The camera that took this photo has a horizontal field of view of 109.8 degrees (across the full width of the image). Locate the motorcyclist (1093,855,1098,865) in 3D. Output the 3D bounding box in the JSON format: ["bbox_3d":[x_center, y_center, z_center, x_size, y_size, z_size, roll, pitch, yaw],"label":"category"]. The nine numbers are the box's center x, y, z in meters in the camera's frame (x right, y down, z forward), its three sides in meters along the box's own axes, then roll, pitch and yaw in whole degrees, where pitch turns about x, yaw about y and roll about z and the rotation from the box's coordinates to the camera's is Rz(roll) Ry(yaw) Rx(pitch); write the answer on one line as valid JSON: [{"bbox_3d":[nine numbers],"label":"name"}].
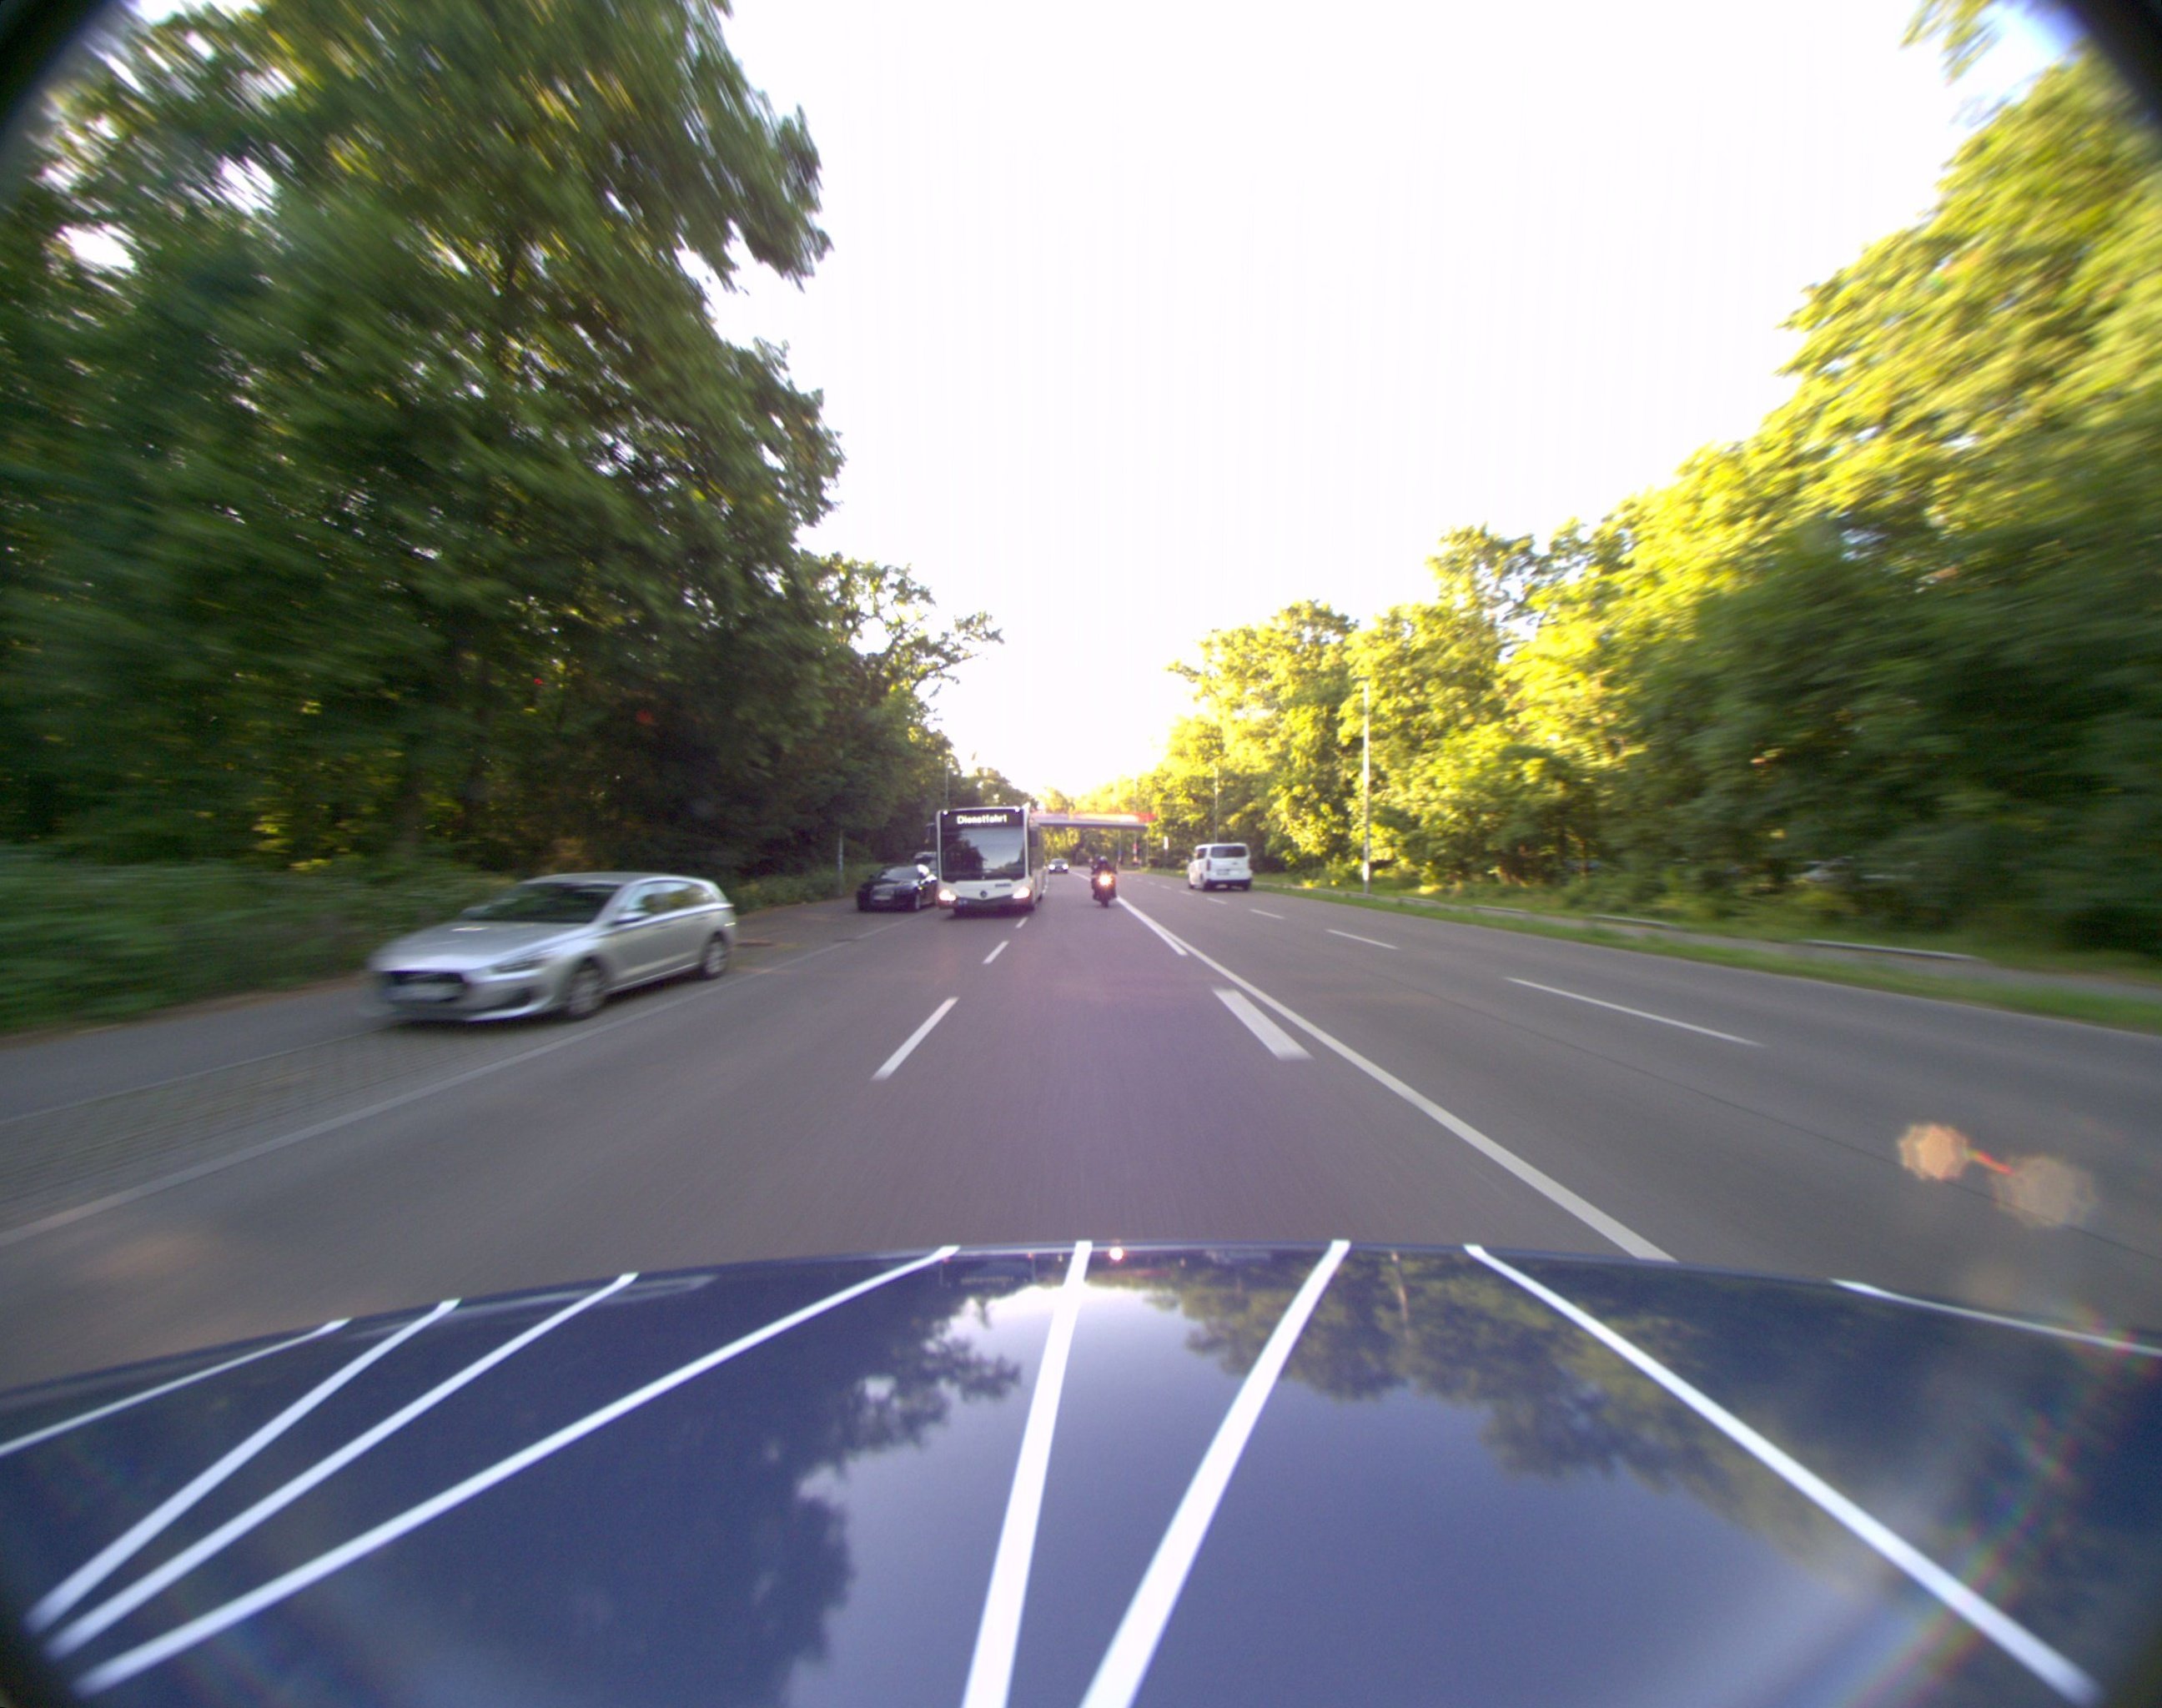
[{"bbox_3d":[2.251,0.979,119.563,0.726,1.496,0.671,-1,1,-3],"label":"motorcyclist"}]

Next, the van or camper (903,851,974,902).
[{"bbox_3d":[-5.780,0.869,31.434,1.897,1.937,5.134,0,0,1],"label":"van or camper"}]

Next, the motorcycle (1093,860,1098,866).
[{"bbox_3d":[2.263,1.423,119.610,0.638,0.989,2.076,-2,0,-3],"label":"motorcycle"}]

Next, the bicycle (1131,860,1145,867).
[{"bbox_3d":[7.785,1.344,103.412,1.931,0.929,0.825,-1,0,5],"label":"bicycle"}]

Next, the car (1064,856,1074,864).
[{"bbox_3d":[-2.092,1.068,131.057,1.686,1.398,3.888,-1,0,-3],"label":"car"}]

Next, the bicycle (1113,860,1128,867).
[{"bbox_3d":[5.422,1.268,103.838,1.931,0.929,0.825,-1,0,5],"label":"bicycle"}]

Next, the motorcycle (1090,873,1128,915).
[{"bbox_3d":[0.839,1.198,23.585,0.956,1.098,3.339,-3,0,-1],"label":"motorcycle"}]

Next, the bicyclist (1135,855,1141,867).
[{"bbox_3d":[7.717,0.927,103.426,0.797,1.687,0.946,-1,0,5],"label":"bicyclist"}]

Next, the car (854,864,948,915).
[{"bbox_3d":[-5.790,1.091,25.059,1.843,1.433,4.957,1,0,0],"label":"car"}]

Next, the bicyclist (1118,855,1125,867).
[{"bbox_3d":[5.532,0.896,103.821,0.797,1.634,0.841,-1,0,5],"label":"bicyclist"}]

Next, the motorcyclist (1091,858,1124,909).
[{"bbox_3d":[0.819,0.906,23.811,0.953,1.523,1.074,-2,0,0],"label":"motorcyclist"}]

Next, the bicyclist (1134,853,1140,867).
[{"bbox_3d":[7.762,0.839,104.706,0.797,1.889,0.817,-1,0,5],"label":"bicyclist"}]

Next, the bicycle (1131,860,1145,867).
[{"bbox_3d":[7.806,1.356,104.714,1.931,0.929,0.825,0,0,5],"label":"bicycle"}]

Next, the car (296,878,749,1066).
[{"bbox_3d":[-5.858,1.091,8.901,1.732,1.433,4.667,2,0,2],"label":"car"}]

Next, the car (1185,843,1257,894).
[{"bbox_3d":[5.953,0.557,32.979,1.999,1.981,4.996,-2,1,-2],"label":"car"}]

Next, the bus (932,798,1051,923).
[{"bbox_3d":[-2.569,0.177,26.006,2.711,3.203,12.277,-1,0,-1],"label":"bus"}]

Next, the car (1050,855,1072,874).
[{"bbox_3d":[-2.053,1.038,76.757,1.999,1.761,4.230,-1,0,-5],"label":"car"}]
